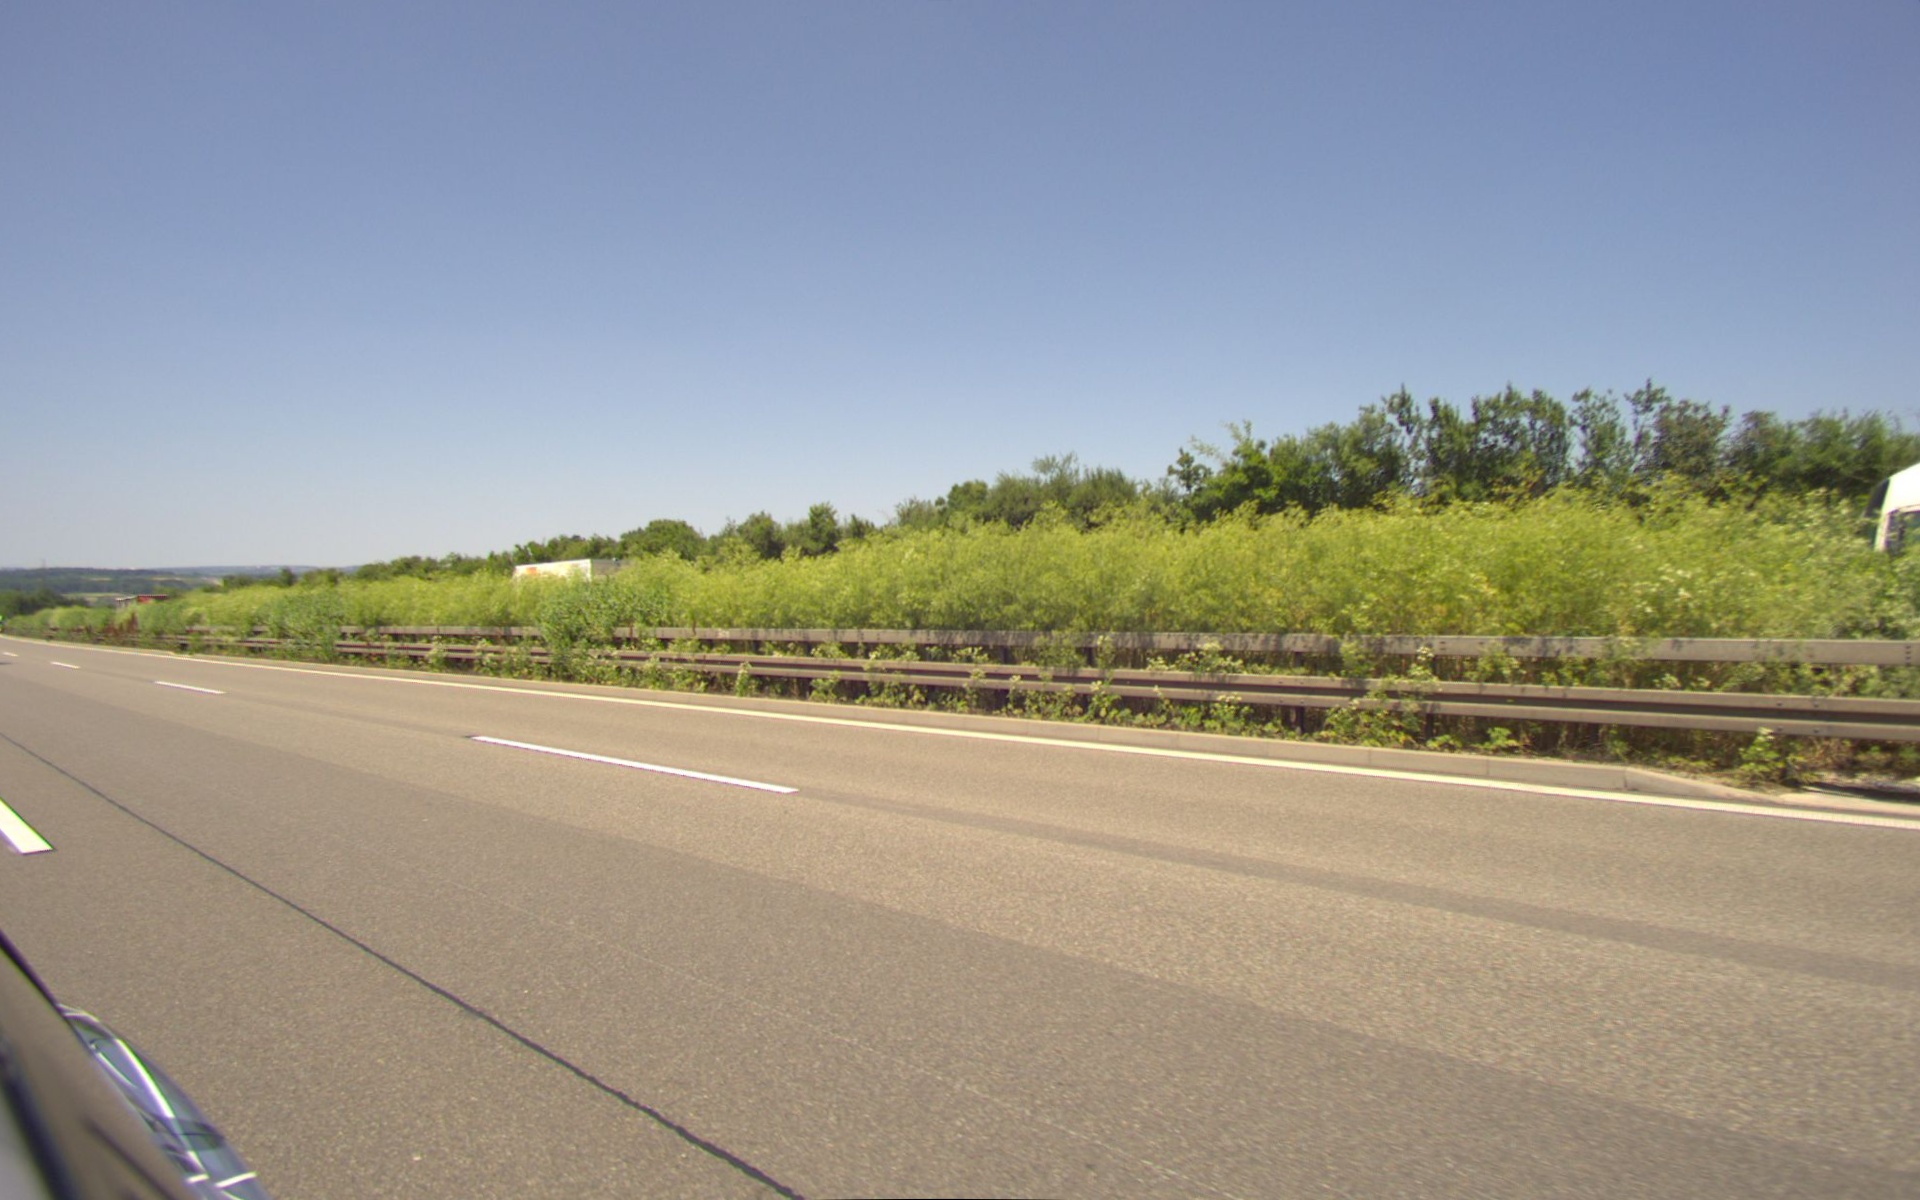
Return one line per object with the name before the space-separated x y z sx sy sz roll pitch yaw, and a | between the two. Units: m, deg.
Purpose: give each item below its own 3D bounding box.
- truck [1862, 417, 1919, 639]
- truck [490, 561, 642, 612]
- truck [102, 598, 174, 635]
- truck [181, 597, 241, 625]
truck | 22.319 -1.341 12.255 16.824 3.576 2.776 -2 -3 41
truck | -19.203 -0.545 48.878 9.852 2.029 2.625 -2 -2 41
truck | -90.458 1.899 111.174 18.525 3.638 3.196 -2 1 42
truck | -59.971 0.910 81.001 6.793 2.029 2.466 -2 -2 41
